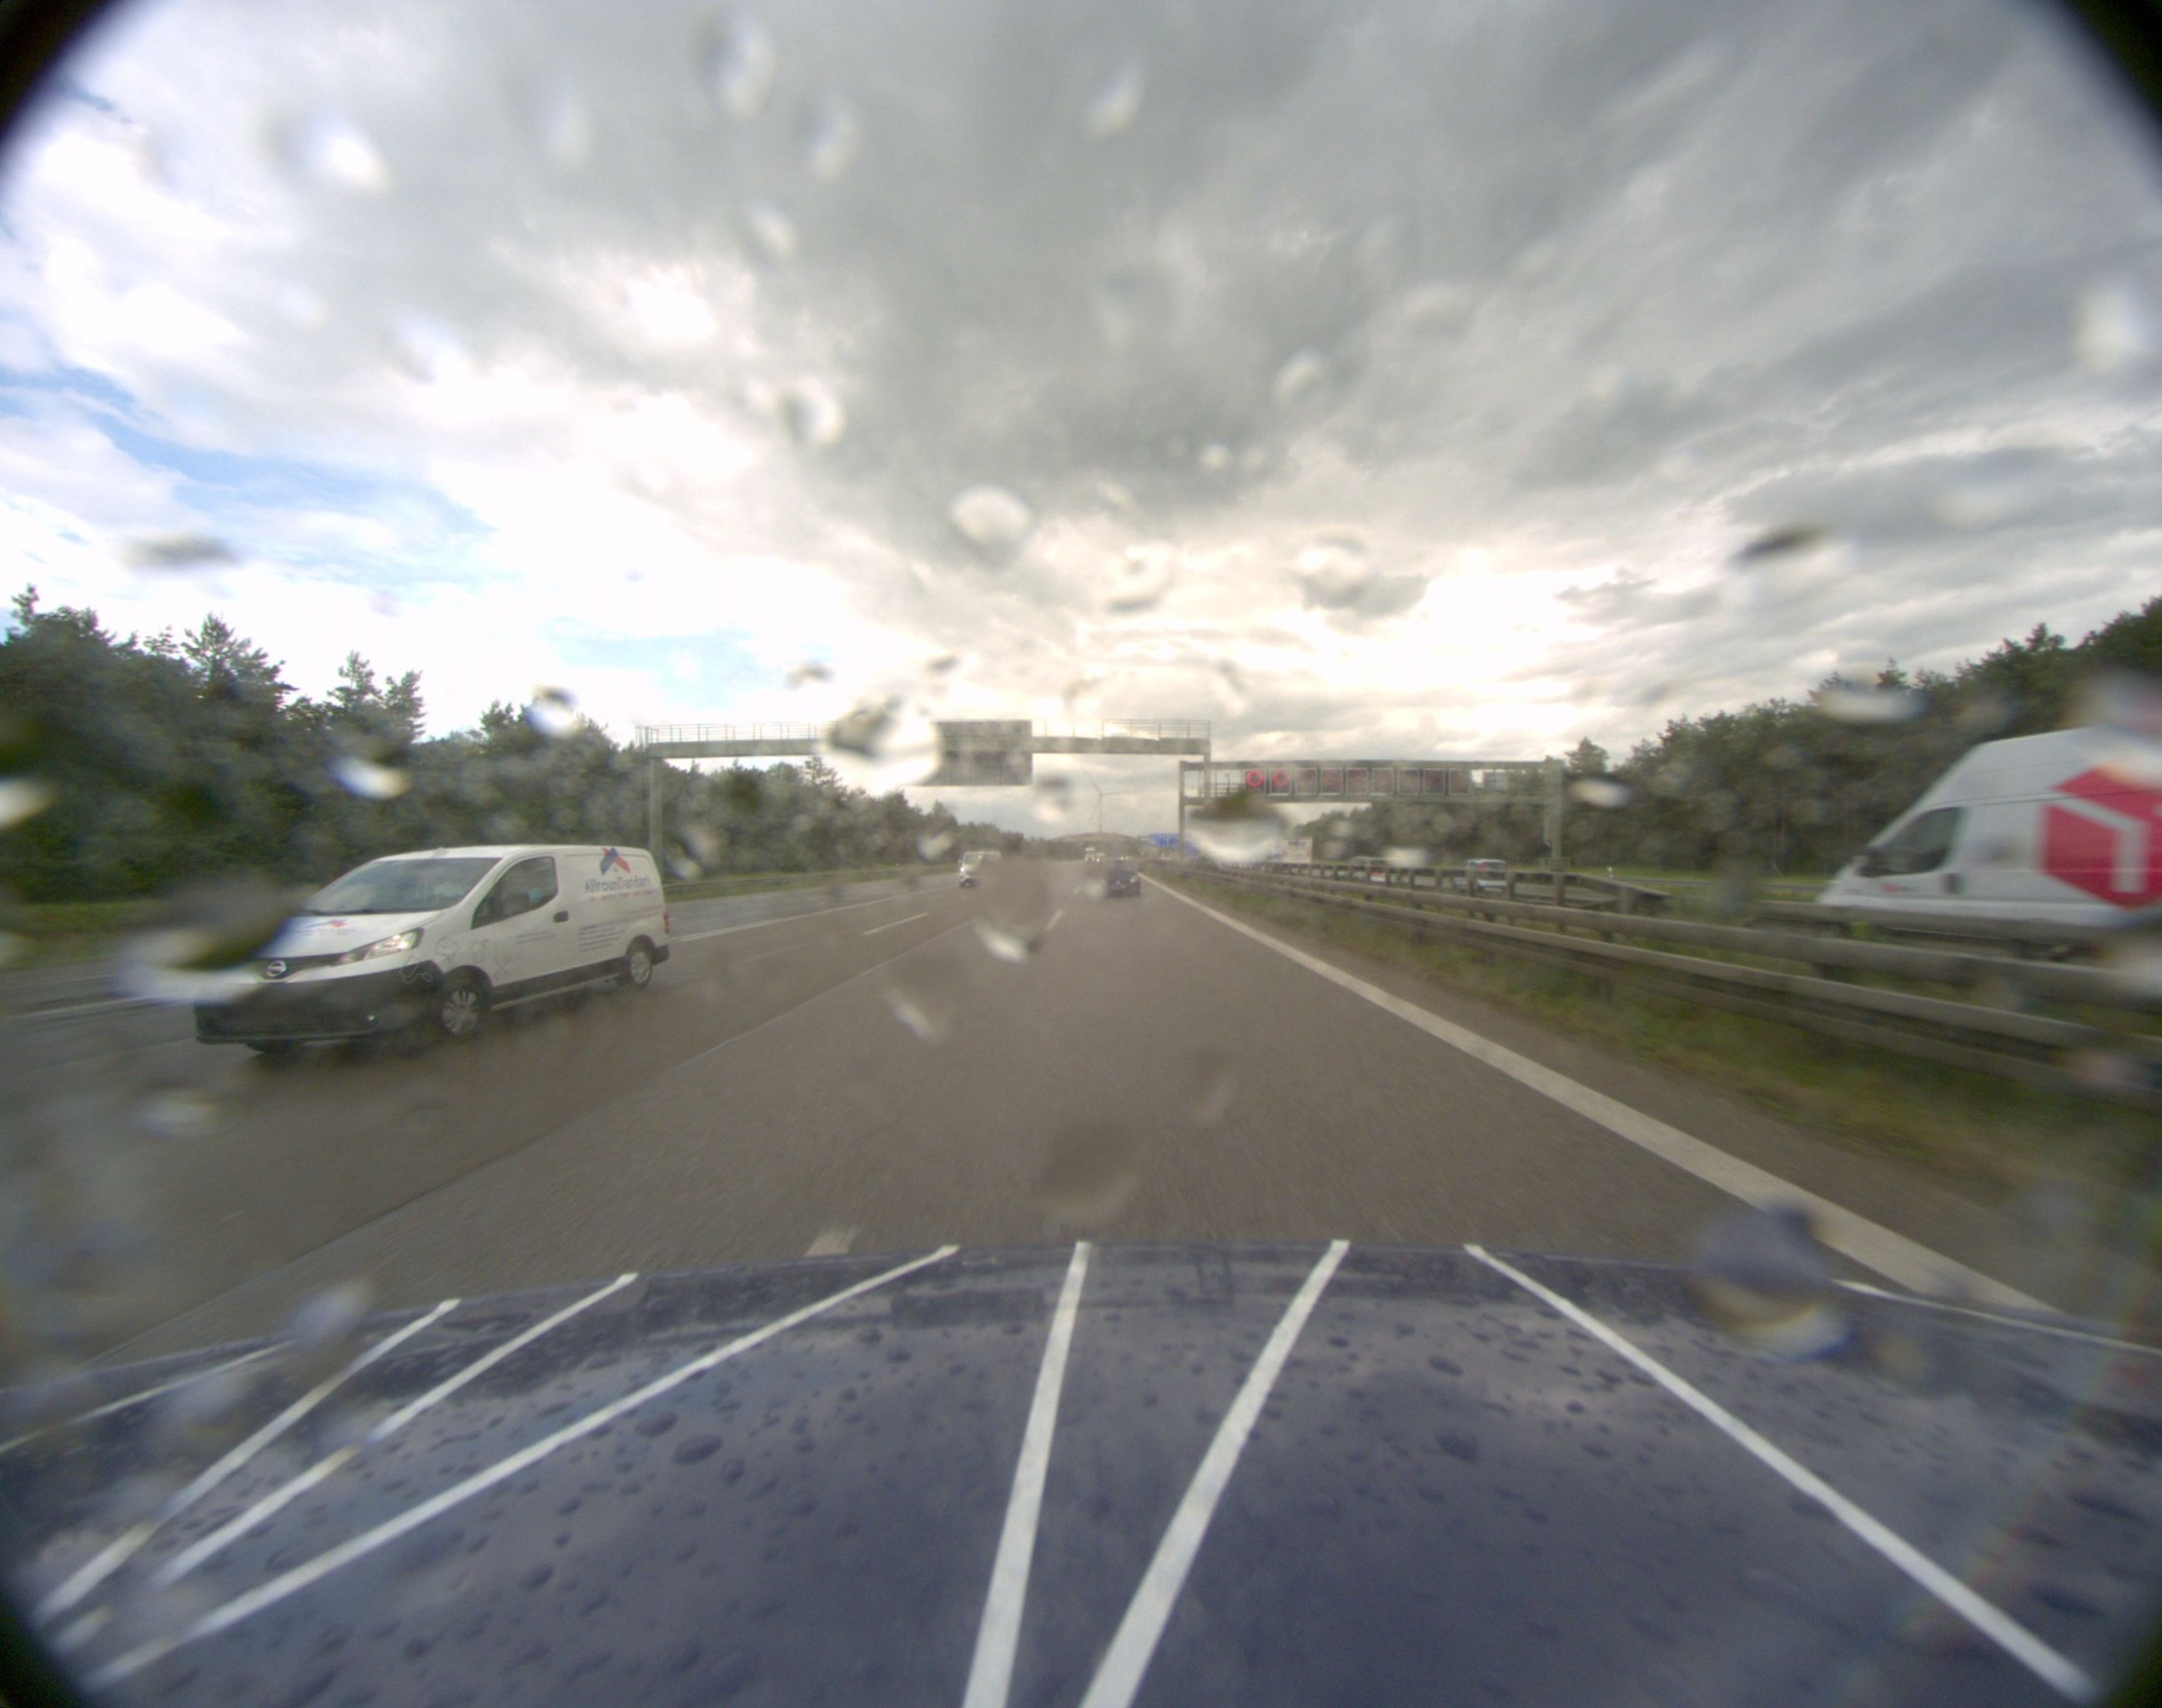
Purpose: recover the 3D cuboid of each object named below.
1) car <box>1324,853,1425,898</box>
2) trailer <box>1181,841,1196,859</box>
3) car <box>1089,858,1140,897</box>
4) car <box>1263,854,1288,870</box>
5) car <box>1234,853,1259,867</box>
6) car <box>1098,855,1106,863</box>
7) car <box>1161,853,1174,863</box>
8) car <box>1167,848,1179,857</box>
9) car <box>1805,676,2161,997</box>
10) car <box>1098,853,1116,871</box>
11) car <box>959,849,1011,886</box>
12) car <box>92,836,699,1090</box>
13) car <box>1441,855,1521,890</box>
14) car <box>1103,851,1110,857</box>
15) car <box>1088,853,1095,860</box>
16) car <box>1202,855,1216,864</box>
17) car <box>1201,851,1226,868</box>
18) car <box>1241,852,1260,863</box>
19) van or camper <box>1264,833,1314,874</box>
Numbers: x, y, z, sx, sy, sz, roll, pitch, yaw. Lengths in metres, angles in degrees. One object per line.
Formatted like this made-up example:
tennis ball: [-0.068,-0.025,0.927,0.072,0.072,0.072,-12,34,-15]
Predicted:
car: [10.893,0.724,28.674,1.872,1.521,5.320,0,0,1]
trailer: [26.884,-1.072,190.437,2.102,4.216,14.627,-3,0,3]
car: [1.363,0.842,29.316,1.809,1.321,4.432,-1,0,4]
car: [17.864,0.719,69.842,1.498,1.368,3.704,-1,0,2]
car: [16.622,0.579,76.408,1.748,1.368,4.000,0,0,1]
car: [5.468,1.403,200.923,1.998,2.002,4.000,0,0,1]
car: [16.231,0.731,142.415,1.902,1.857,4.898,0,0,1]
car: [20.803,-0.337,171.763,2.288,2.002,6.740,-3,0,4]
car: [9.977,-0.154,6.035,2.138,2.646,6.673,0,0,1]
car: [3.124,0.964,89.712,1.998,2.002,4.001,-2,0,3]
car: [-5.598,0.747,45.018,1.998,2.002,5.484,-2,0,4]
car: [-6.436,0.829,8.204,1.968,1.890,4.882,-1,0,2]
car: [19.317,0.849,36.882,1.727,1.587,4.155,-1,0,1]
car: [8.659,0.129,258.165,1.998,2.002,4.000,0,0,1]
car: [3.115,0.800,217.202,1.998,2.002,4.000,0,0,1]
car: [20.679,0.834,123.080,1.676,1.451,4.562,0,0,2]
car: [12.527,0.520,71.933,1.698,1.506,4.000,-1,0,1]
car: [22.108,0.443,99.321,1.629,1.250,3.842,-1,0,1]
van or camper: [16.429,-0.042,60.535,2.306,3.094,7.545,0,0,3]
